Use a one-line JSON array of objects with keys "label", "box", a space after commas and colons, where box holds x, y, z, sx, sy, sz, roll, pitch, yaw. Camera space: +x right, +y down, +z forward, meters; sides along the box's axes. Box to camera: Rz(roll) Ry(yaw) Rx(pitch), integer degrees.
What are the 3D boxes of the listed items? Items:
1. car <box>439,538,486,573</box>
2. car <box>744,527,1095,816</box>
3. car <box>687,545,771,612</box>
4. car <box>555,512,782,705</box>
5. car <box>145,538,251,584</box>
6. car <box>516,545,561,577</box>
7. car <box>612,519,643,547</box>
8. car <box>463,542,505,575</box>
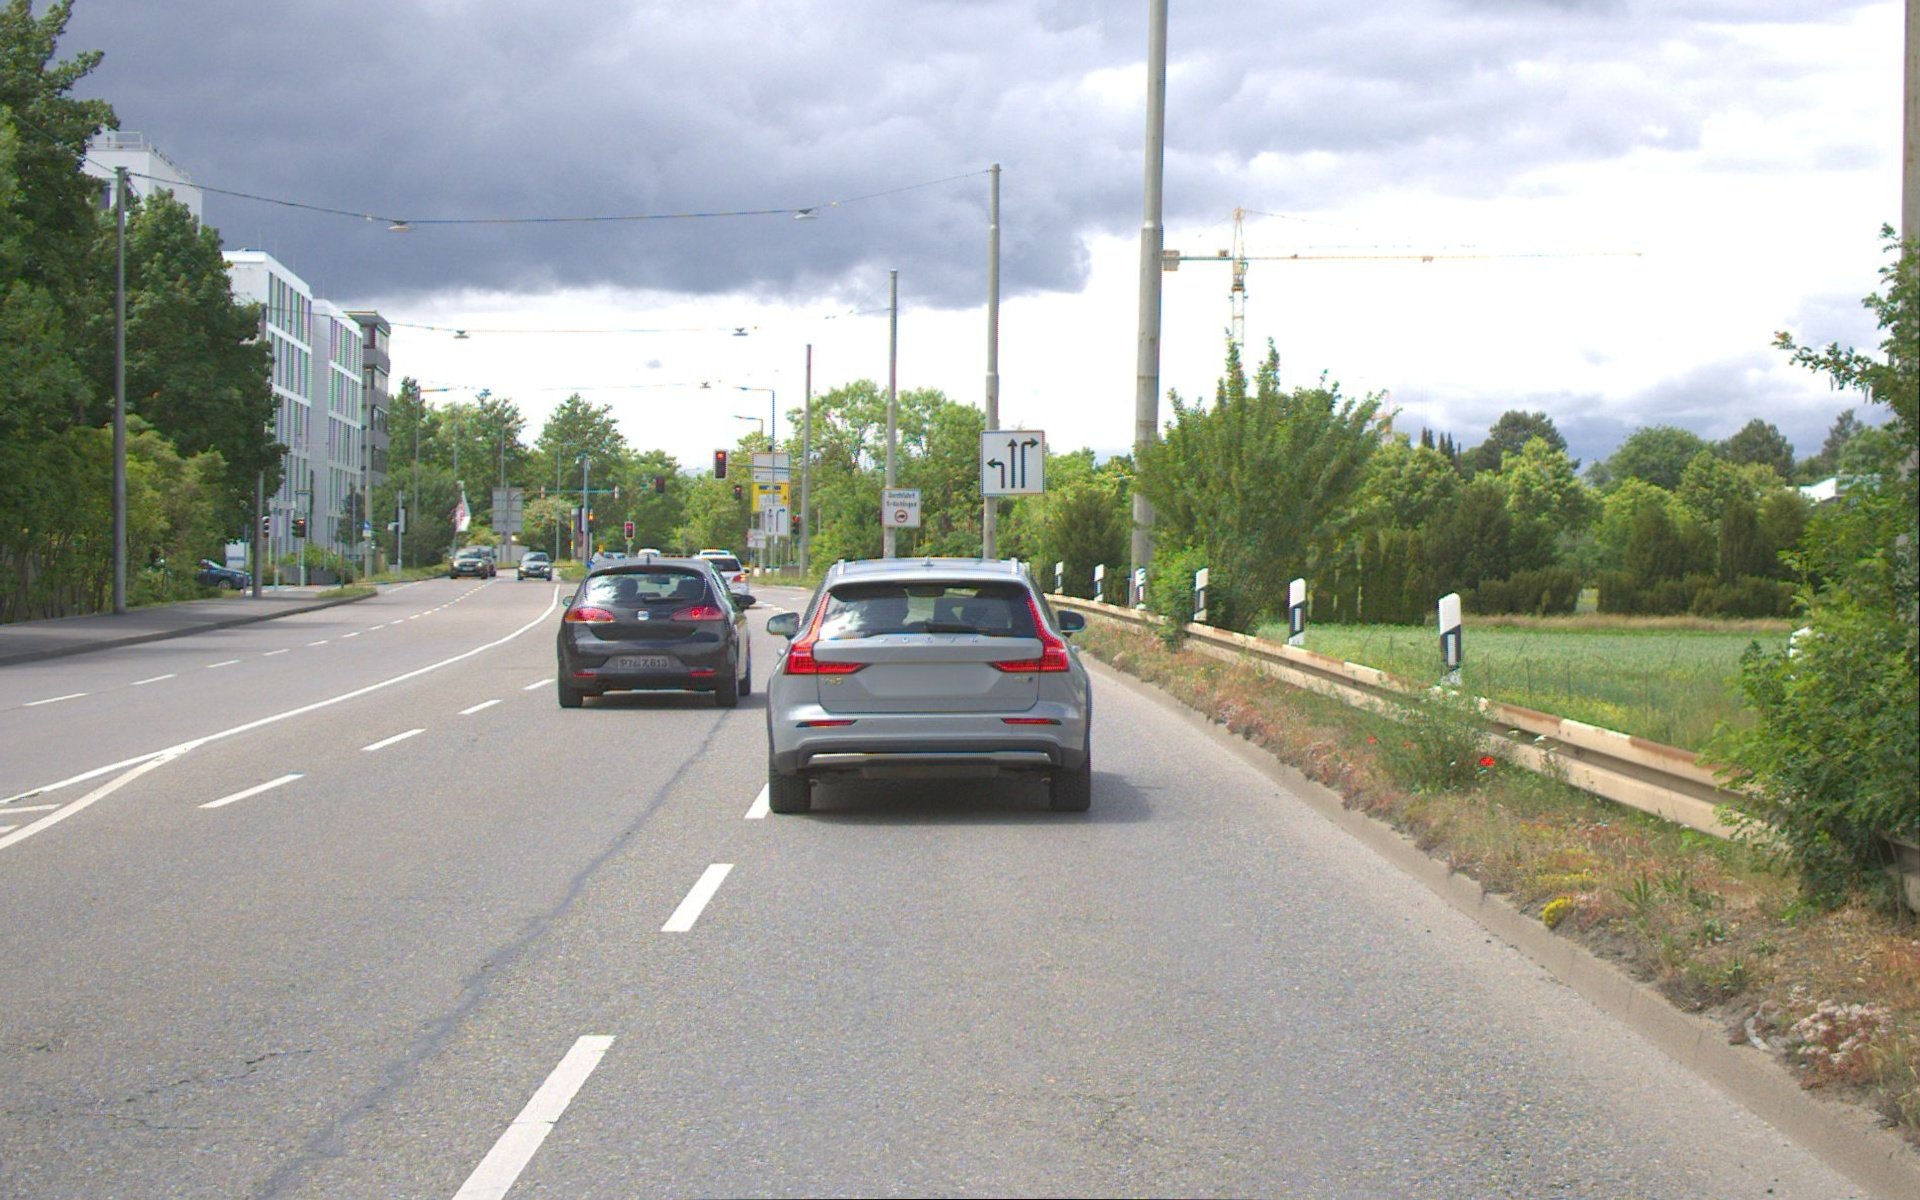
[{"label": "car", "box": [-25.847, -2.297, 178.628, 1.881, 1.711, 4.000, 3, 0, -2]}, {"label": "car", "box": [-0.192, 0.395, 20.770, 1.895, 1.549, 4.000, 1, 0, 1]}, {"label": "car", "box": [-6.273, -0.580, 93.690, 1.993, 1.689, 4.000, 3, 0, -1]}, {"label": "car", "box": [-2.834, 0.076, 34.227, 1.993, 1.711, 4.000, 3, 0, -2]}, {"label": "car", "box": [-32.139, -1.648, 145.121, 3.987, 1.716, 2.000, 3, 0, -1]}, {"label": "car", "box": [-21.669, -1.985, 176.792, 1.881, 1.515, 4.000, 3, 0, -2]}, {"label": "car", "box": [-22.597, -4.539, 233.514, 1.948, 1.744, 4.389, 3, 0, -5]}, {"label": "car", "box": [-26.936, -2.331, 194.501, 1.881, 1.711, 4.000, 3, 0, -2]}]
